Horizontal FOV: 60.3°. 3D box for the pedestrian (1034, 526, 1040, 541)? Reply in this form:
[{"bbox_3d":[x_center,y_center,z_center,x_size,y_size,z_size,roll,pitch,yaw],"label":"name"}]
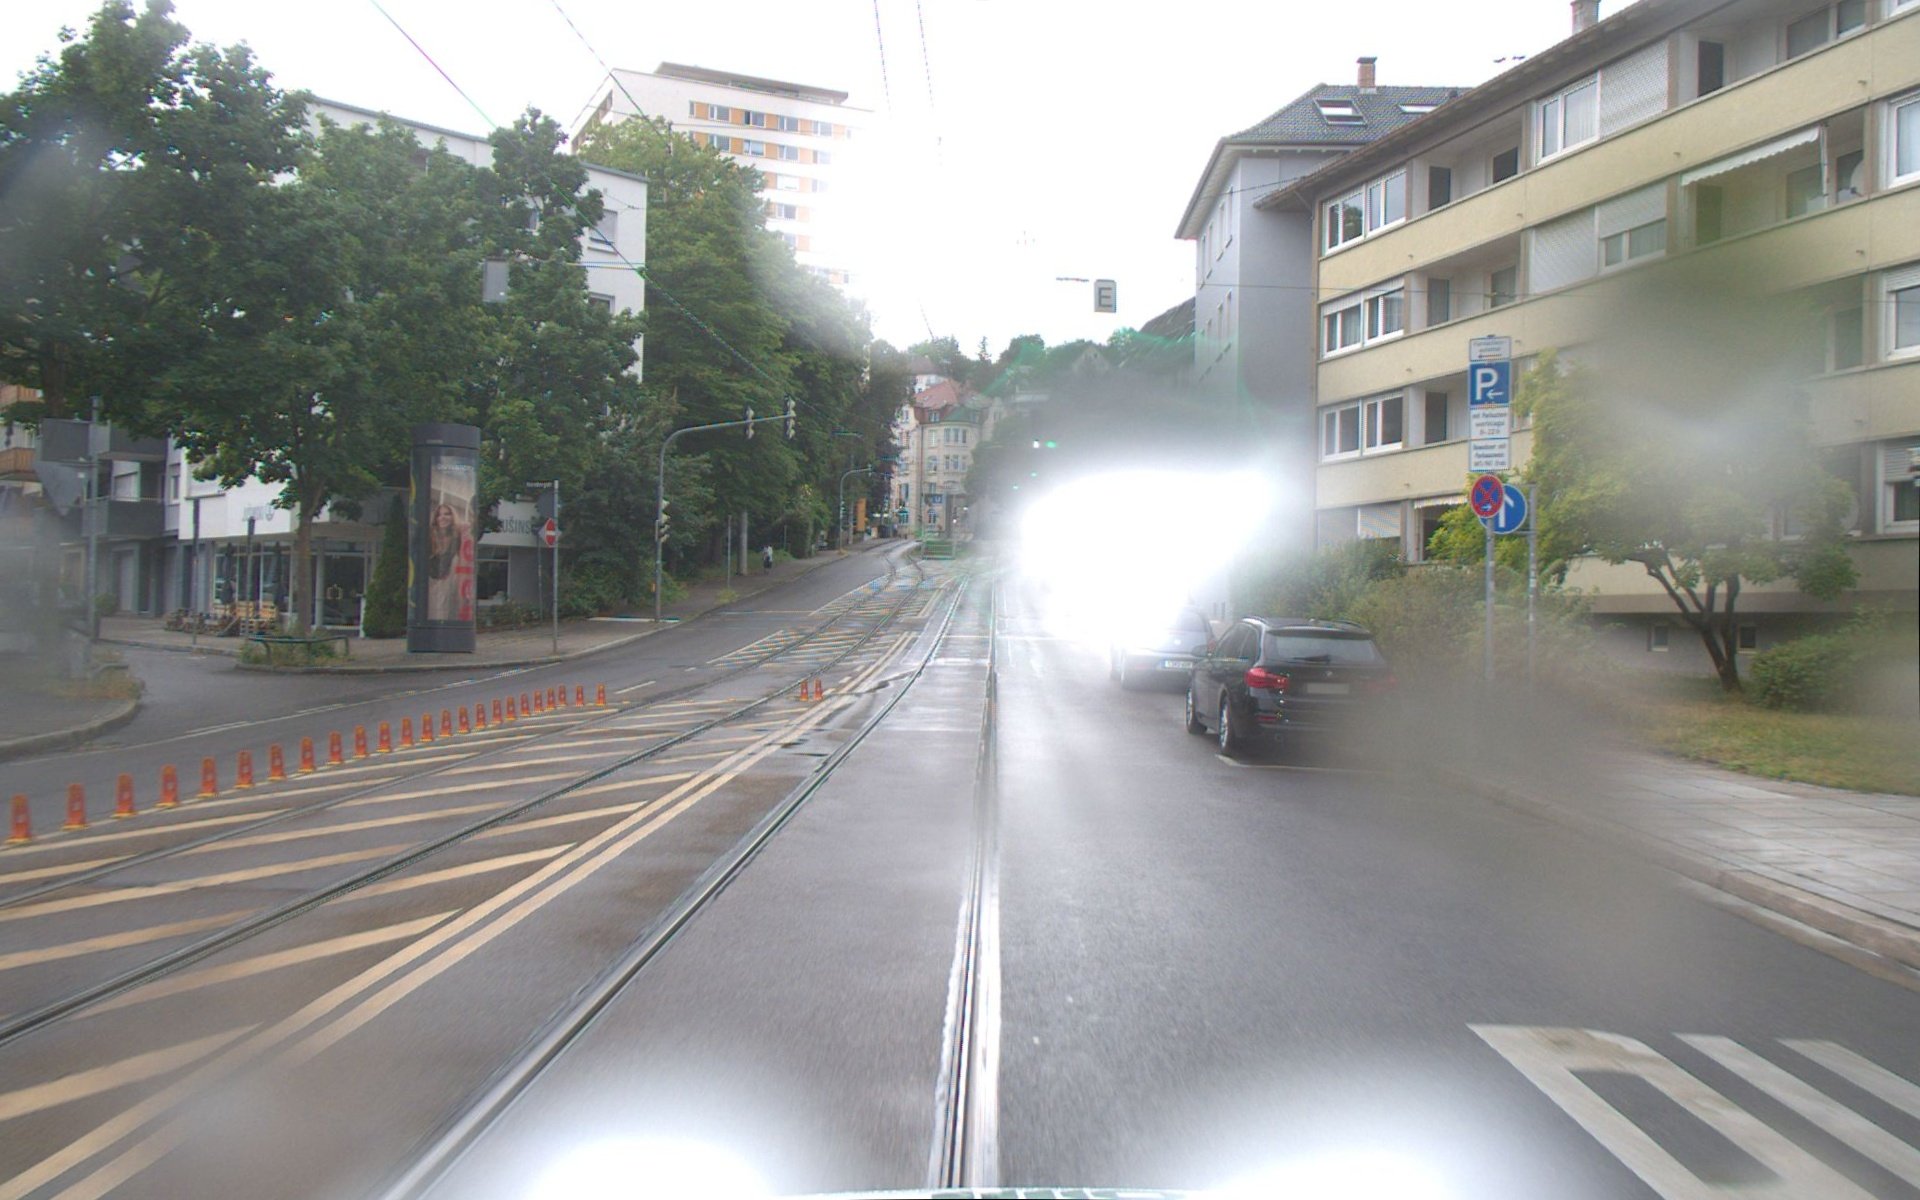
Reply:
[{"bbox_3d":[8.109,-6.985,174.074,0.567,1.492,0.543,2,-1,-7],"label":"pedestrian"}]

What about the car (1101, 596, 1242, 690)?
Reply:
[{"bbox_3d":[3.709,0.711,29.725,1.900,1.489,4.206,2,0,-1],"label":"car"}]

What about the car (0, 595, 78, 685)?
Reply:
[{"bbox_3d":[-17.475,0.661,29.601,1.984,1.507,4.095,3,-1,-43],"label":"car"}]

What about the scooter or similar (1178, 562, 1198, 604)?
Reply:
[{"bbox_3d":[7.624,-0.575,55.313,0.562,1.270,1.612,2,5,6],"label":"scooter or similar"}]

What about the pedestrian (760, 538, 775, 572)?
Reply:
[{"bbox_3d":[-9.351,-2.192,80.485,0.571,1.627,0.869,3,2,-3],"label":"pedestrian"}]

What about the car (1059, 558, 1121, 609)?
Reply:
[{"bbox_3d":[4.257,-0.573,54.691,1.670,1.458,4.103,2,3,0],"label":"car"}]

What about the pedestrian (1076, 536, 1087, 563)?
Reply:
[{"bbox_3d":[7.701,-3.192,104.732,0.630,1.657,0.700,2,1,9],"label":"pedestrian"}]

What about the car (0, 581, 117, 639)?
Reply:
[{"bbox_3d":[-25.726,0.270,47.004,3.933,1.545,1.986,1,-1,44],"label":"car"}]

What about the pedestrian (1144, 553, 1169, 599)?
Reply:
[{"bbox_3d":[7.110,-0.864,59.950,0.864,1.610,0.802,0,4,3],"label":"pedestrian"}]

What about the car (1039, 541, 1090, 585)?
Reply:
[{"bbox_3d":[4.449,-1.609,70.932,1.867,1.670,4.691,2,3,0],"label":"car"}]

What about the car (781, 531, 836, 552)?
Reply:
[{"bbox_3d":[-11.636,-4.482,127.090,3.907,1.430,1.682,2,-1,24],"label":"car"}]

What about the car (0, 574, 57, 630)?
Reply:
[{"bbox_3d":[-29.819,0.036,51.220,4.595,1.624,1.986,1,-1,45],"label":"car"}]

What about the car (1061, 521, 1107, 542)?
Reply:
[{"bbox_3d":[11.066,-6.126,147.558,3.905,1.674,1.808,2,1,0],"label":"car"}]

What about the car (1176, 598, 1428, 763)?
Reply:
[{"bbox_3d":[3.649,0.786,18.501,1.820,1.513,4.645,2,0,0],"label":"car"}]
